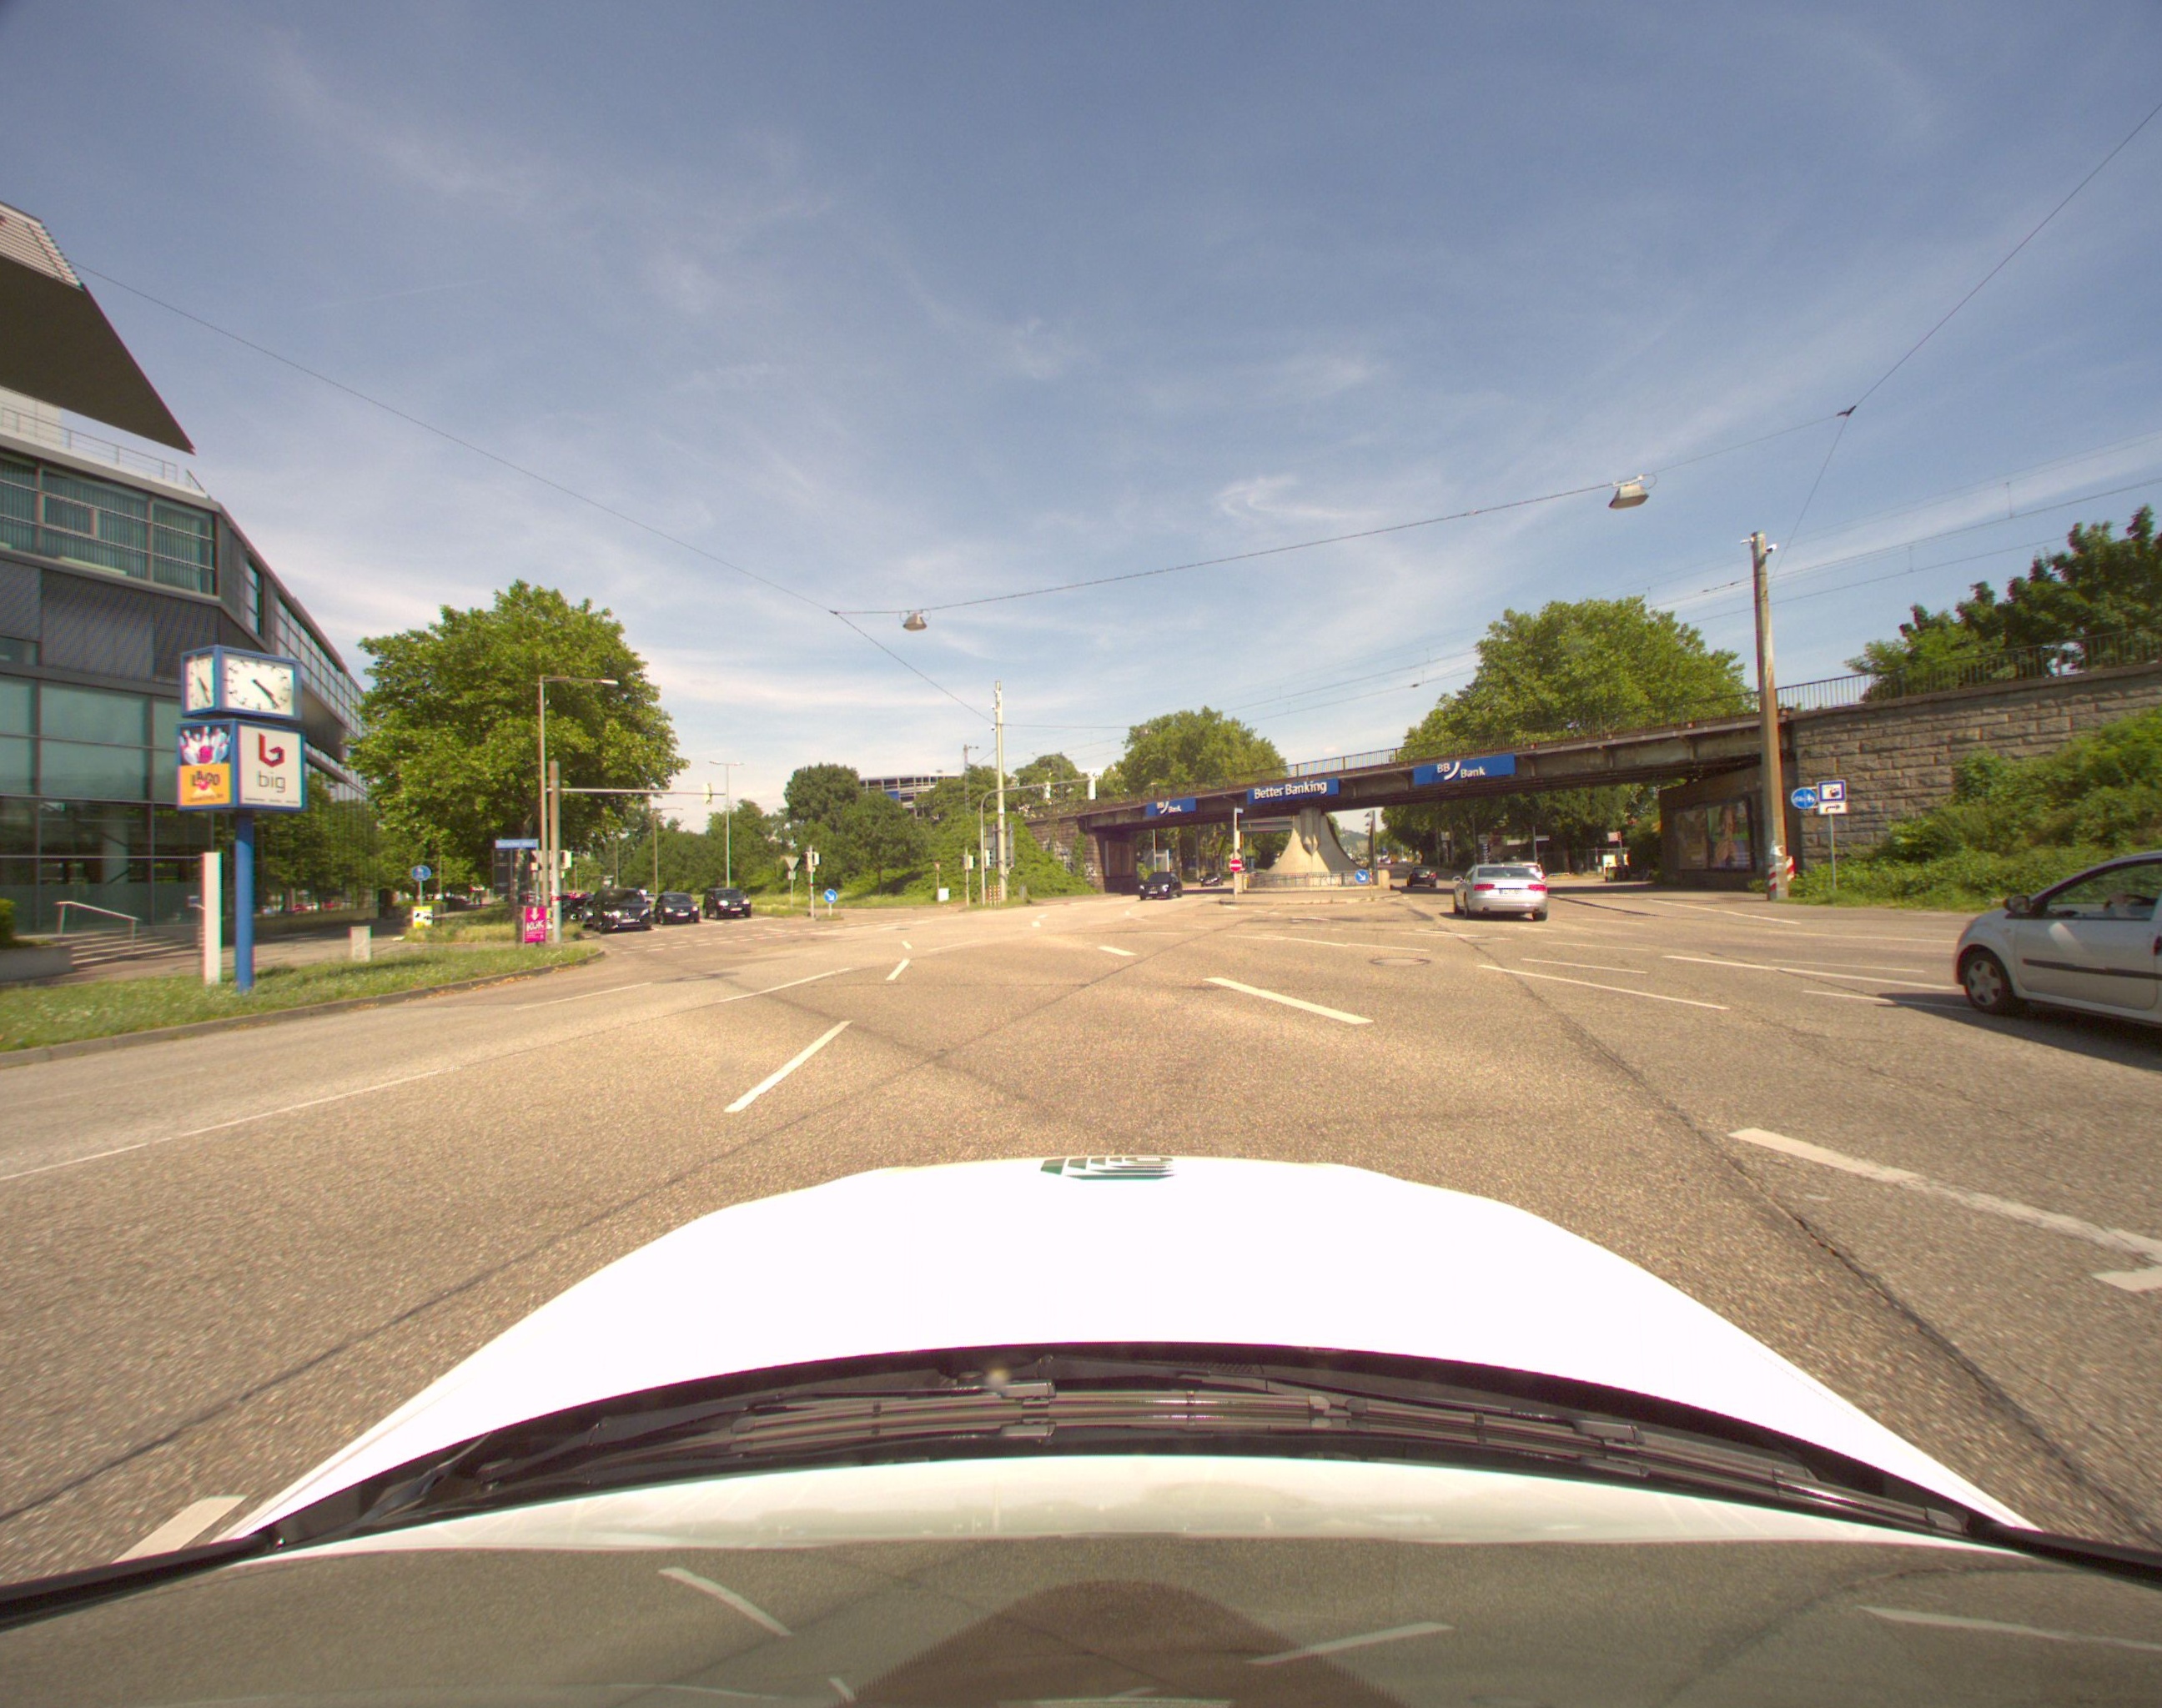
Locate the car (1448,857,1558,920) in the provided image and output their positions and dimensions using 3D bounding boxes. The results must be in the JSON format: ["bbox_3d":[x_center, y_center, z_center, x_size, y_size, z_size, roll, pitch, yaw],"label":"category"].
[{"bbox_3d":[11.192,0.839,21.922,1.977,1.508,4.504,-1,-1,19],"label":"car"}]

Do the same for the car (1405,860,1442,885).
[{"bbox_3d":[22.801,1.189,54.352,1.923,1.601,4.018,-1,-1,18],"label":"car"}]

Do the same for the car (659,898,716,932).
[{"bbox_3d":[-18.578,2.832,38.382,1.775,1.475,3.914,-1,-2,-36],"label":"car"}]

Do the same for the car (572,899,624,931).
[{"bbox_3d":[-25.263,3.162,42.503,1.905,1.449,4.949,-3,-1,-35],"label":"car"}]

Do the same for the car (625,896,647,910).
[{"bbox_3d":[-56.677,6.197,103.710,2.009,1.684,3.956,-1,-2,-36],"label":"car"}]

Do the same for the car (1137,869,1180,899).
[{"bbox_3d":[4.717,1.758,49.004,1.980,1.596,4.461,-2,-1,13],"label":"car"}]

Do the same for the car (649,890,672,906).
[{"bbox_3d":[-47.245,4.914,91.386,1.749,1.536,3.956,0,-1,-35],"label":"car"}]

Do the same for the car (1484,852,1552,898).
[{"bbox_3d":[18.319,0.865,34.331,1.895,1.769,4.019,-2,-1,20],"label":"car"}]

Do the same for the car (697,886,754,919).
[{"bbox_3d":[-19.310,2.603,44.140,1.822,1.615,4.440,-1,-2,-37],"label":"car"}]

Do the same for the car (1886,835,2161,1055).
[{"bbox_3d":[8.233,0.595,6.032,1.696,1.451,3.912,-1,-1,19],"label":"car"}]

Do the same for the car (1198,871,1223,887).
[{"bbox_3d":[13.158,2.509,82.730,1.808,1.507,4.234,-3,-2,17],"label":"car"}]

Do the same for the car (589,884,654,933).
[{"bbox_3d":[-20.491,2.344,36.189,1.953,1.920,5.170,-1,-1,-36],"label":"car"}]

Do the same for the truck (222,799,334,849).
[{"bbox_3d":[-65.301,-2.389,66.211,8.888,3.396,2.685,-3,-2,18],"label":"truck"}]
